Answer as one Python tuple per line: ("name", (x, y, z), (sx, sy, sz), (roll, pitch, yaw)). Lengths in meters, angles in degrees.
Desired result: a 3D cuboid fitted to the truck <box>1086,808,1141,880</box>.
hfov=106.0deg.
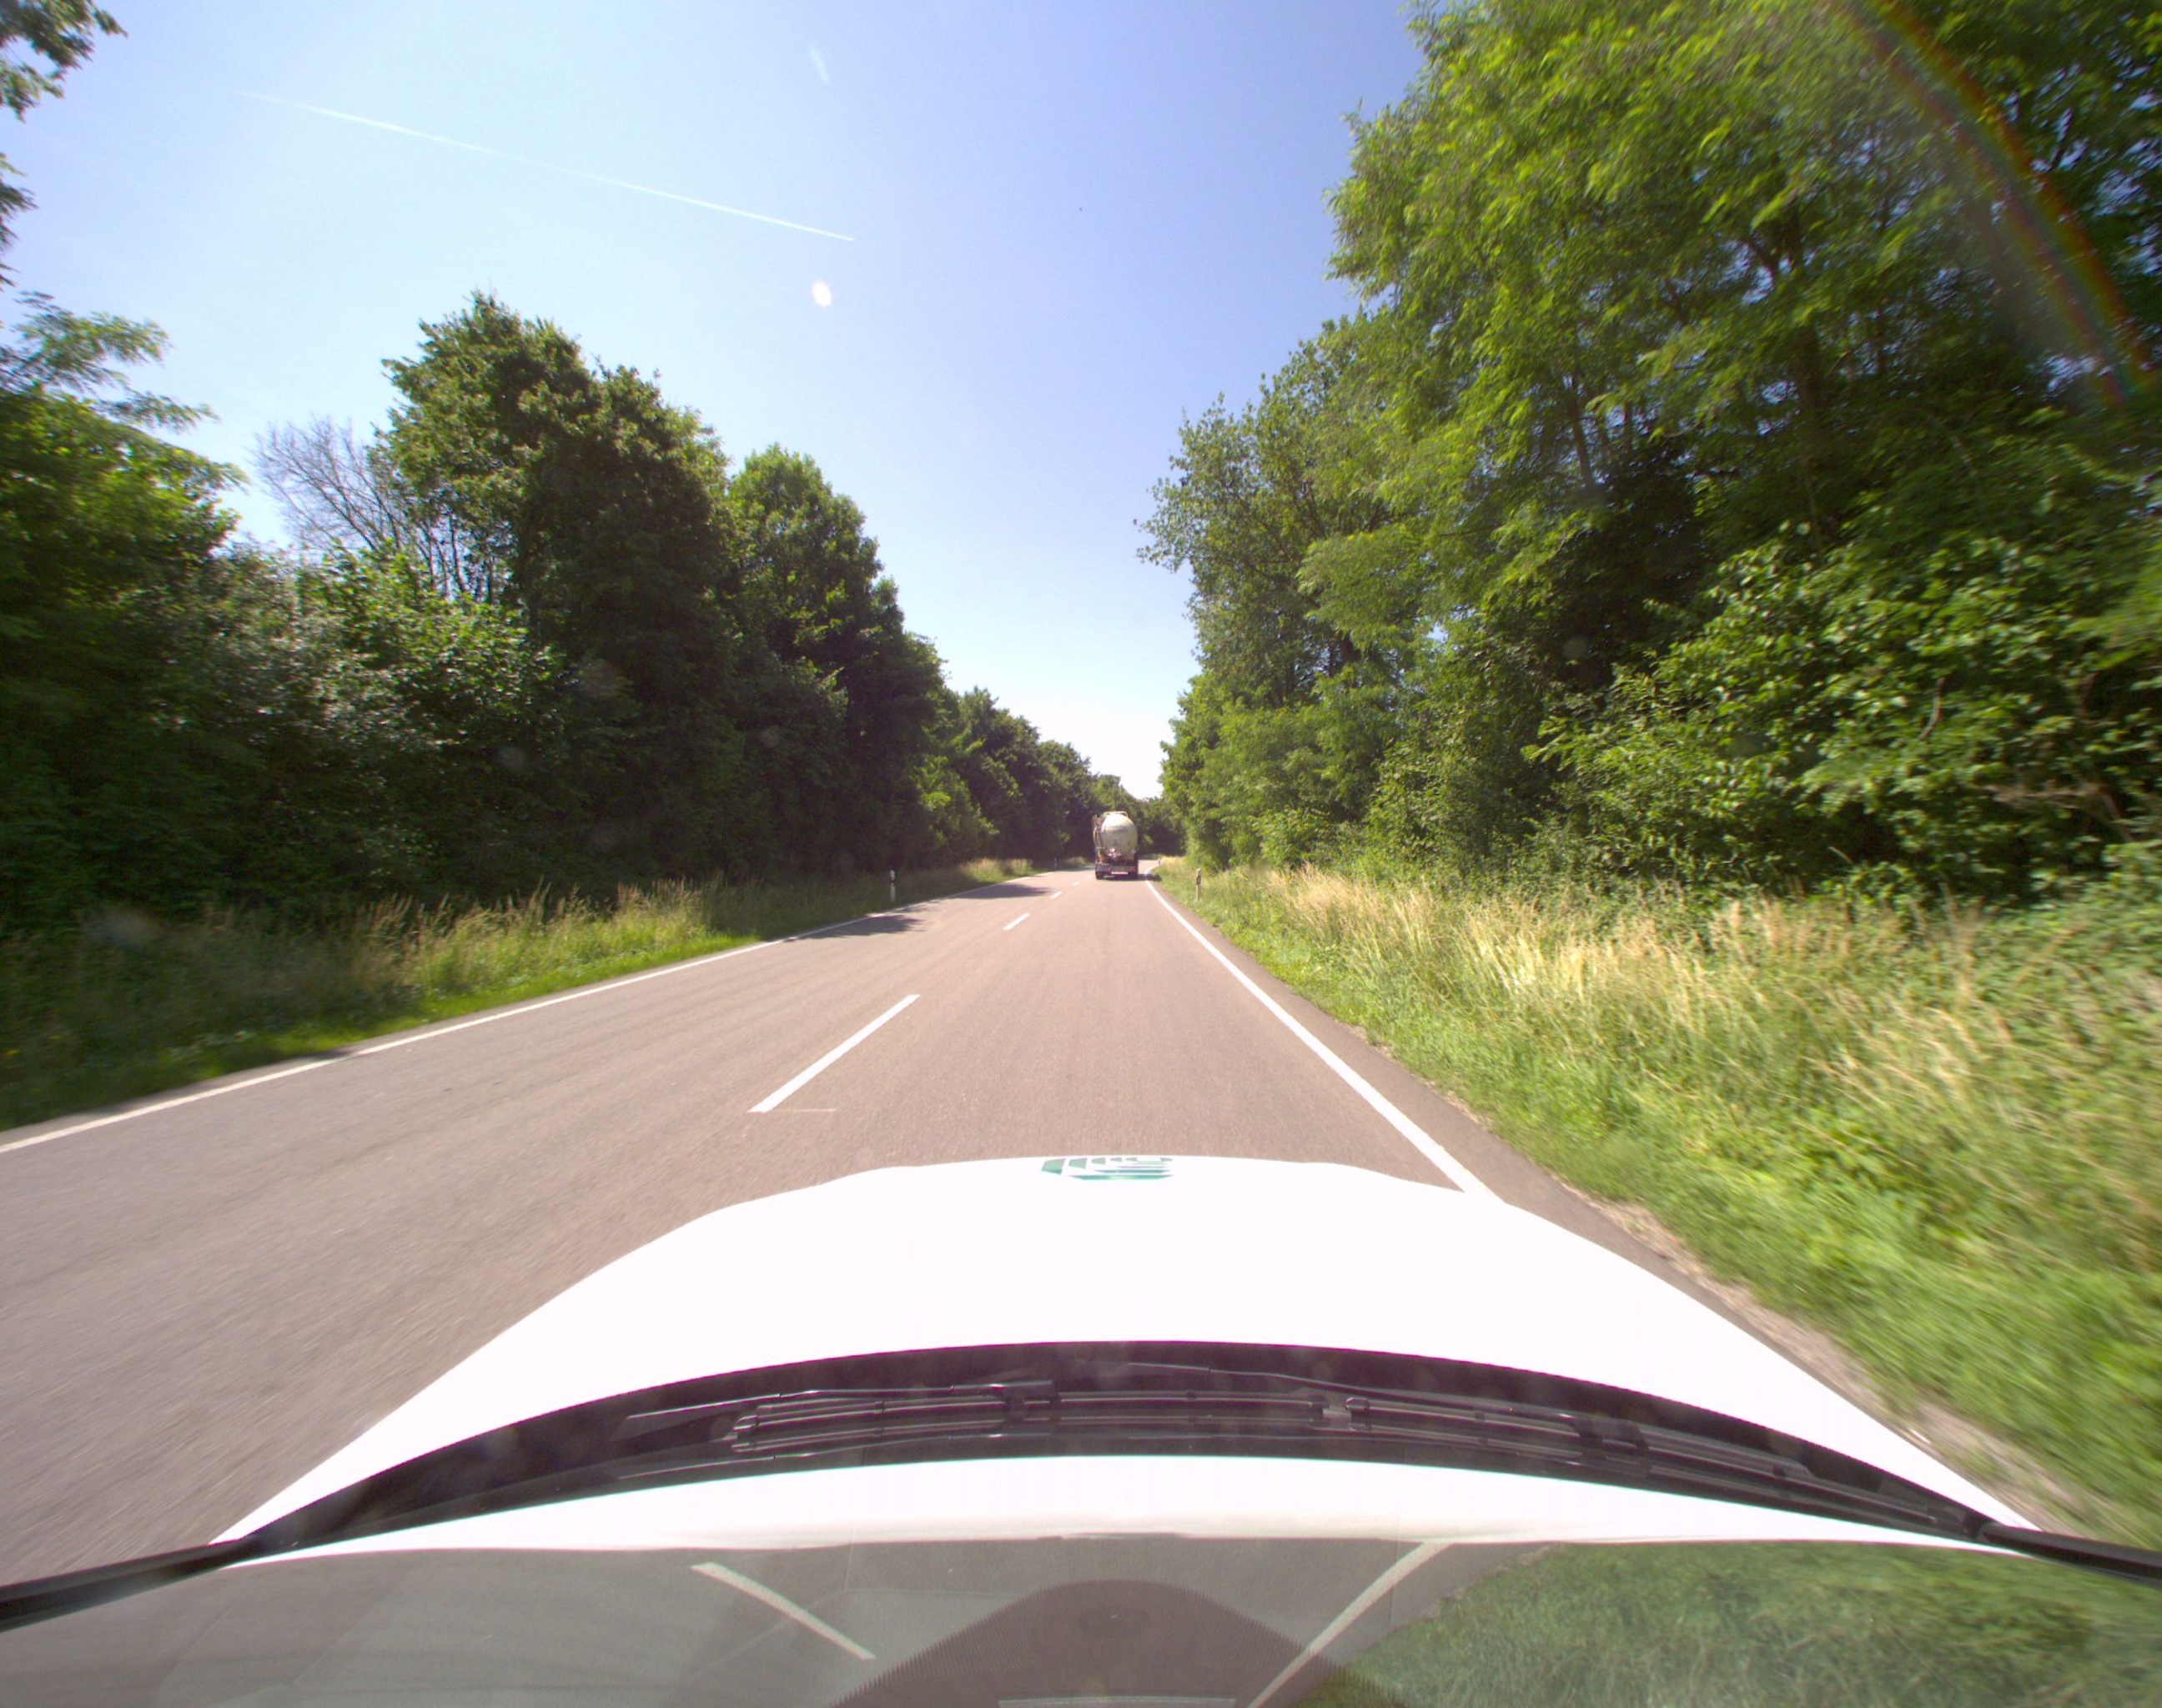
("truck", (2.062, -0.563, 53.464), (3.038, 3.998, 15.642), (-1, 0, 2))
